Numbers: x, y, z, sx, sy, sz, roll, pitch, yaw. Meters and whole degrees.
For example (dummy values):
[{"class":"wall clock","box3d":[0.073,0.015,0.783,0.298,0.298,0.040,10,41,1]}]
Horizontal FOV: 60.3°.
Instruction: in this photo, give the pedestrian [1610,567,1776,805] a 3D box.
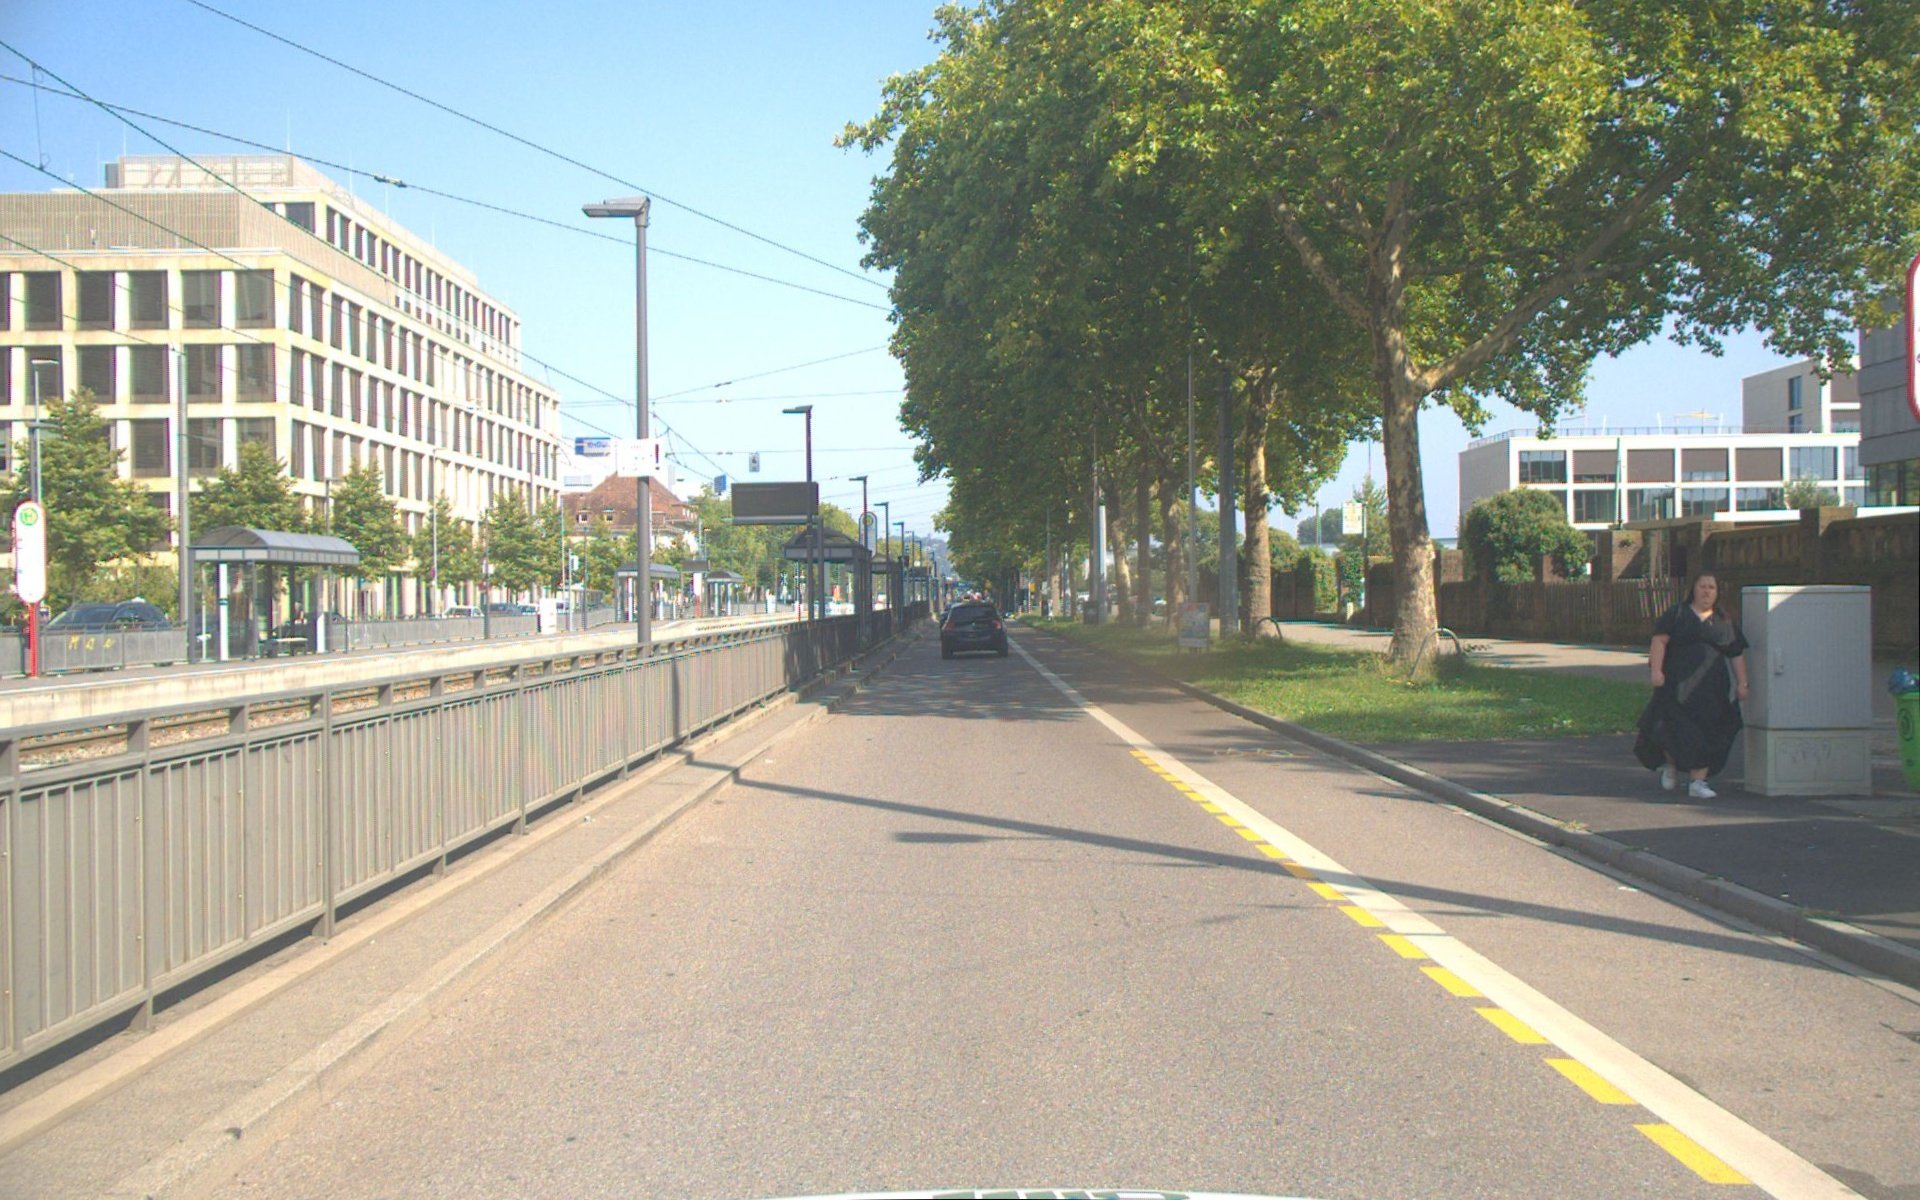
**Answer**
[{"class":"pedestrian","box3d":[5.288,0.600,11.978,0.862,1.654,0.823,-1,0,6]}]

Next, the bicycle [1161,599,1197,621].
[{"class":"bicycle","box3d":[14.455,0.634,109.100,2.198,1.299,0.998,-3,-2,-1]}]

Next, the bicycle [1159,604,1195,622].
[{"class":"bicycle","box3d":[13.718,0.828,104.570,2.129,1.095,0.743,-1,-1,-2]}]

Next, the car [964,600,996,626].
[{"class":"car","box3d":[1.211,0.790,102.717,1.868,1.564,4.000,-1,0,0]}]

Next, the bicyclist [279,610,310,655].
[{"class":"bicyclist","box3d":[-22.040,1.072,54.800,0.616,1.427,0.784,-4,-2,-1]}]

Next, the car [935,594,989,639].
[{"class":"car","box3d":[0.069,0.638,64.855,1.933,1.564,3.999,-5,0,-1]}]

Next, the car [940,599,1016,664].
[{"class":"car","box3d":[0.439,0.822,44.295,1.868,1.564,3.999,-3,0,0]}]

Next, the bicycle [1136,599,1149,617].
[{"class":"bicycle","box3d":[10.790,0.449,97.745,0.537,1.024,1.713,-1,0,1]}]

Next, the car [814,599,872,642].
[{"class":"car","box3d":[-4.552,0.782,64.826,1.952,1.586,4.000,-1,0,0]}]

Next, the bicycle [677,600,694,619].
[{"class":"bicycle","box3d":[-16.625,0.579,100.127,0.461,1.167,1.485,-1,-1,15]}]

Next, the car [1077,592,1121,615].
[{"class":"car","box3d":[13.165,0.308,157.069,4.018,1.952,1.848,-3,0,3]}]

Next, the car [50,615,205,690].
[{"class":"car","box3d":[-19.188,1.172,38.311,1.628,1.598,3.759,-1,0,1]}]

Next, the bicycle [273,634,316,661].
[{"class":"bicycle","box3d":[-22.006,1.567,54.740,0.616,0.836,1.897,-4,-1,0]}]

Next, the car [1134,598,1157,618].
[{"class":"car","box3d":[16.265,0.694,144.918,1.575,1.603,3.796,-2,0,0]}]

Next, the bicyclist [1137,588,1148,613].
[{"class":"bicyclist","box3d":[10.778,0.037,97.743,0.537,1.478,0.842,-1,0,0]}]

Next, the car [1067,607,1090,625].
[{"class":"car","box3d":[10.300,1.374,143.726,1.692,1.474,4.551,-2,0,1]}]
